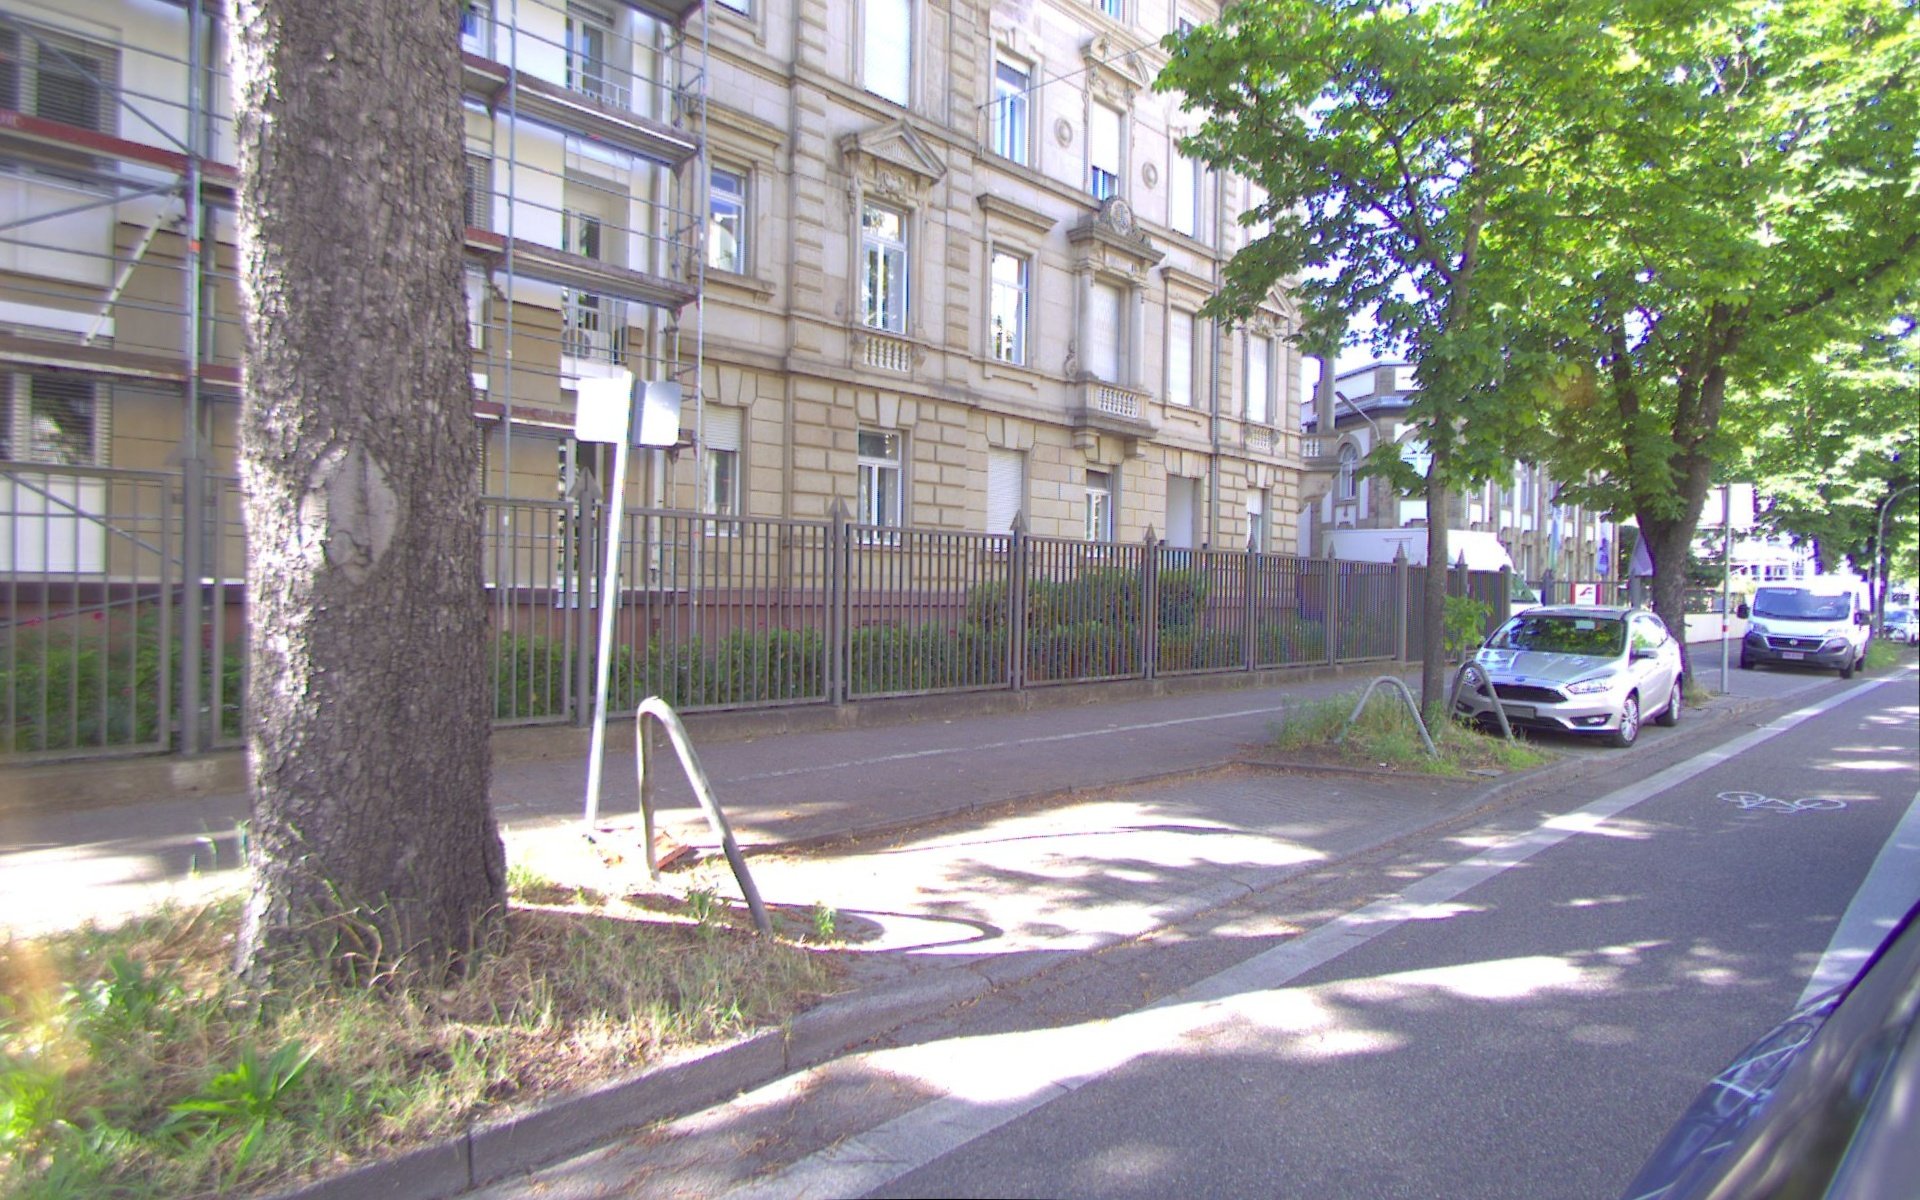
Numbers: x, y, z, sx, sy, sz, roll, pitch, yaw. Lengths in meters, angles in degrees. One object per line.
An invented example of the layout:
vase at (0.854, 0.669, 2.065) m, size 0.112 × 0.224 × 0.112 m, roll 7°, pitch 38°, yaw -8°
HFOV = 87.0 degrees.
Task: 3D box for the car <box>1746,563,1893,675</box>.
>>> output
car at (20.977, 0.352, 24.598) m, size 5.710 × 2.371 × 2.129 m, roll -1°, pitch 3°, yaw -44°

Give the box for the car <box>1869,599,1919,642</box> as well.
car at (37.433, 0.777, 40.082) m, size 4.035 × 1.569 × 1.863 m, roll -1°, pitch 1°, yaw -44°

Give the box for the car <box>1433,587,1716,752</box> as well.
car at (7.532, 0.667, 12.220) m, size 4.294 × 1.562 × 1.874 m, roll -1°, pitch 3°, yaw -44°

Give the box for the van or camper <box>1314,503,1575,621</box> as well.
van or camper at (12.250, -0.889, 26.377) m, size 2.078 × 2.660 × 6.751 m, roll 0°, pitch 0°, yaw -17°
